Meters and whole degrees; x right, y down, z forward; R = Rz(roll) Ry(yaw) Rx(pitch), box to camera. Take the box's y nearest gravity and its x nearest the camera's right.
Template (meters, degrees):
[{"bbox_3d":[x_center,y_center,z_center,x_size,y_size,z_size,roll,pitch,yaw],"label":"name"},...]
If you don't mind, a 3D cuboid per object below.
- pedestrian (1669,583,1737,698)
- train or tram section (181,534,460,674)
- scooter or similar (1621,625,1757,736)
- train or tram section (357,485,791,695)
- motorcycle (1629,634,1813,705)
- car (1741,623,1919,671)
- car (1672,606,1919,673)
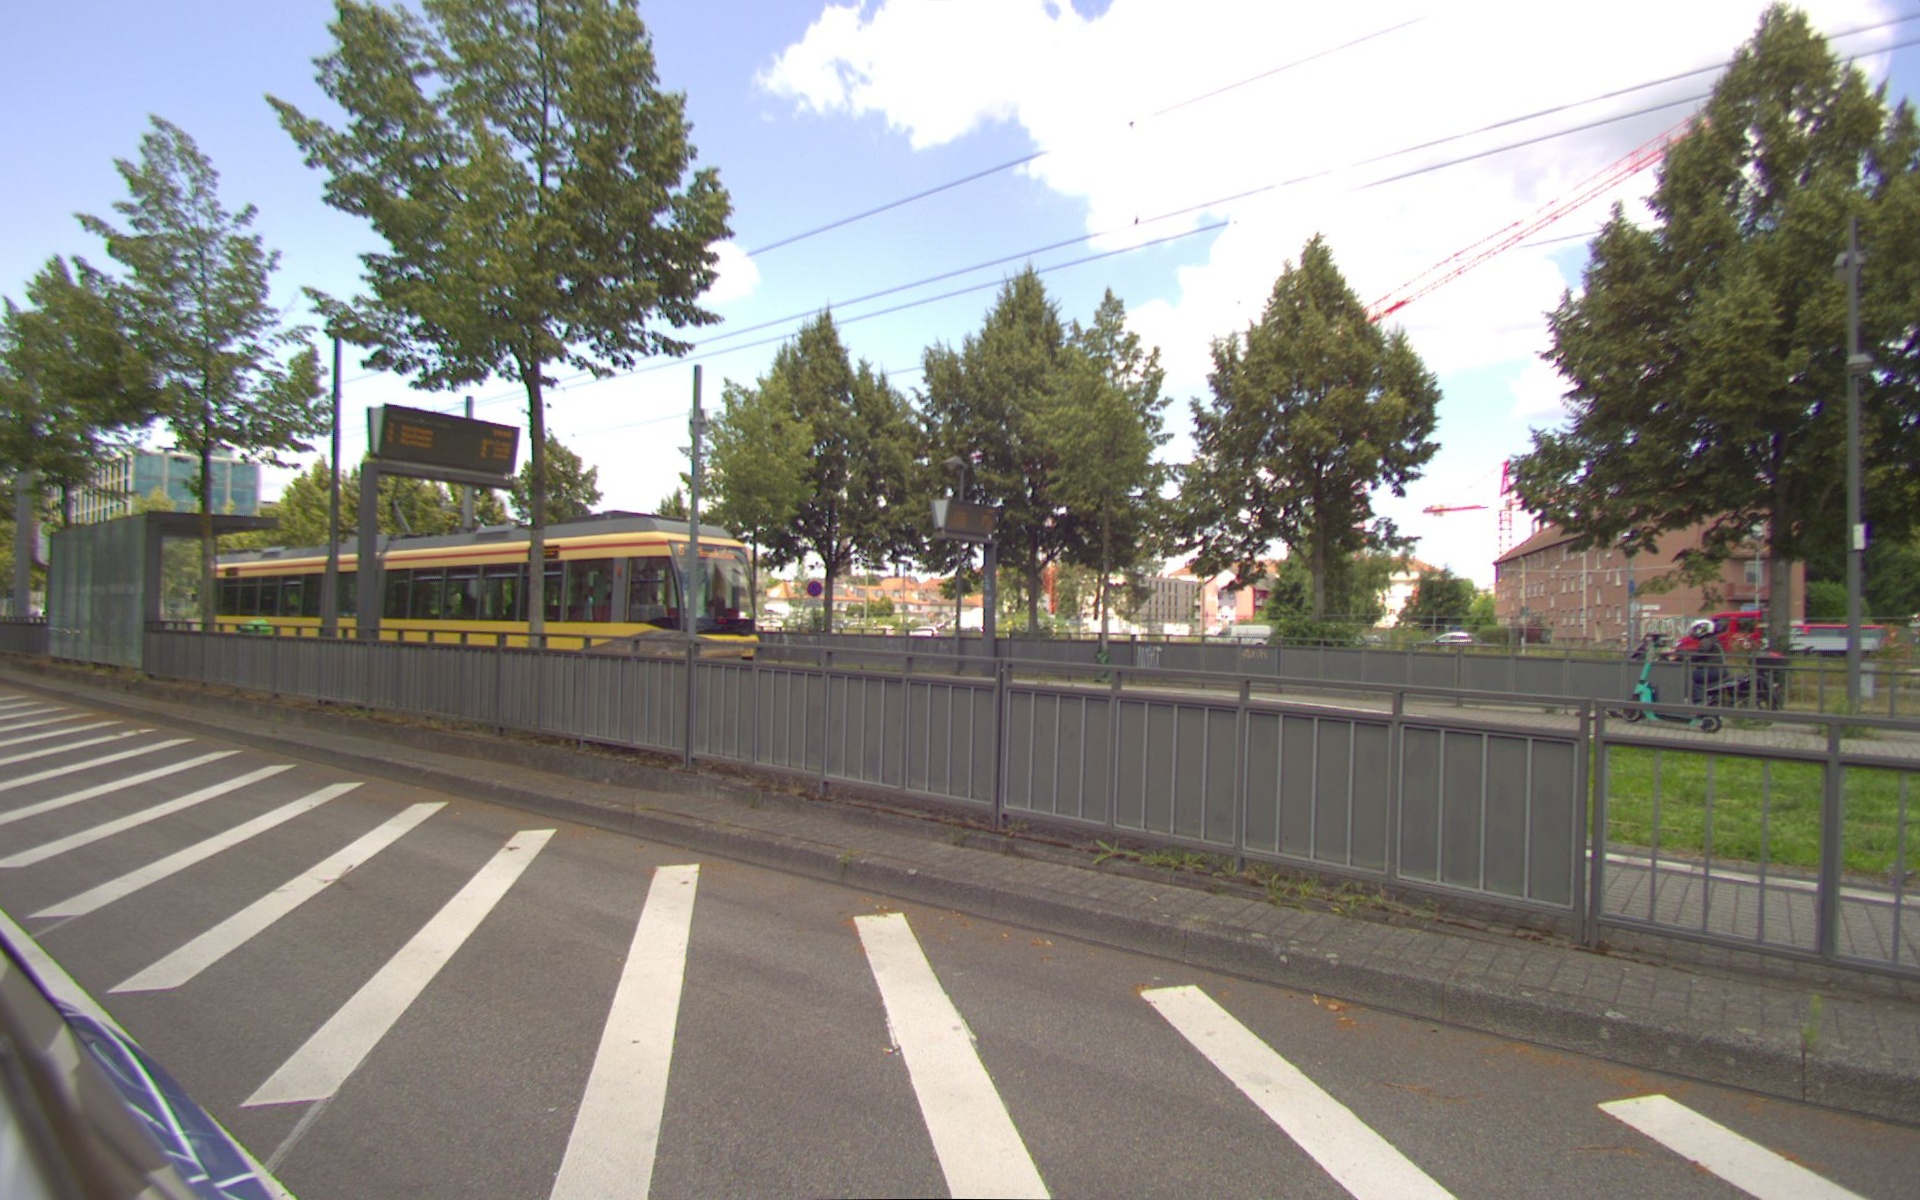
[{"bbox_3d":[11.384,0.614,15.496,0.772,1.685,0.815,-1,-3,39],"label":"pedestrian"},{"bbox_3d":[-20.759,0.269,32.101,14.643,3.666,2.661,-1,-2,38],"label":"train or tram section"},{"bbox_3d":[9.421,1.008,13.124,0.412,1.312,1.350,1,0,-31],"label":"scooter or similar"},{"bbox_3d":[-9.567,-0.029,23.417,13.457,3.768,2.815,-1,-2,38],"label":"train or tram section"},{"bbox_3d":[11.530,1.023,15.402,2.193,1.001,0.565,-1,-2,40],"label":"motorcycle"},{"bbox_3d":[35.716,1.894,41.703,2.052,1.866,5.199,1,-2,-33],"label":"car"},{"bbox_3d":[30.462,1.430,37.038,2.353,2.214,6.859,1,-2,-28],"label":"car"}]
